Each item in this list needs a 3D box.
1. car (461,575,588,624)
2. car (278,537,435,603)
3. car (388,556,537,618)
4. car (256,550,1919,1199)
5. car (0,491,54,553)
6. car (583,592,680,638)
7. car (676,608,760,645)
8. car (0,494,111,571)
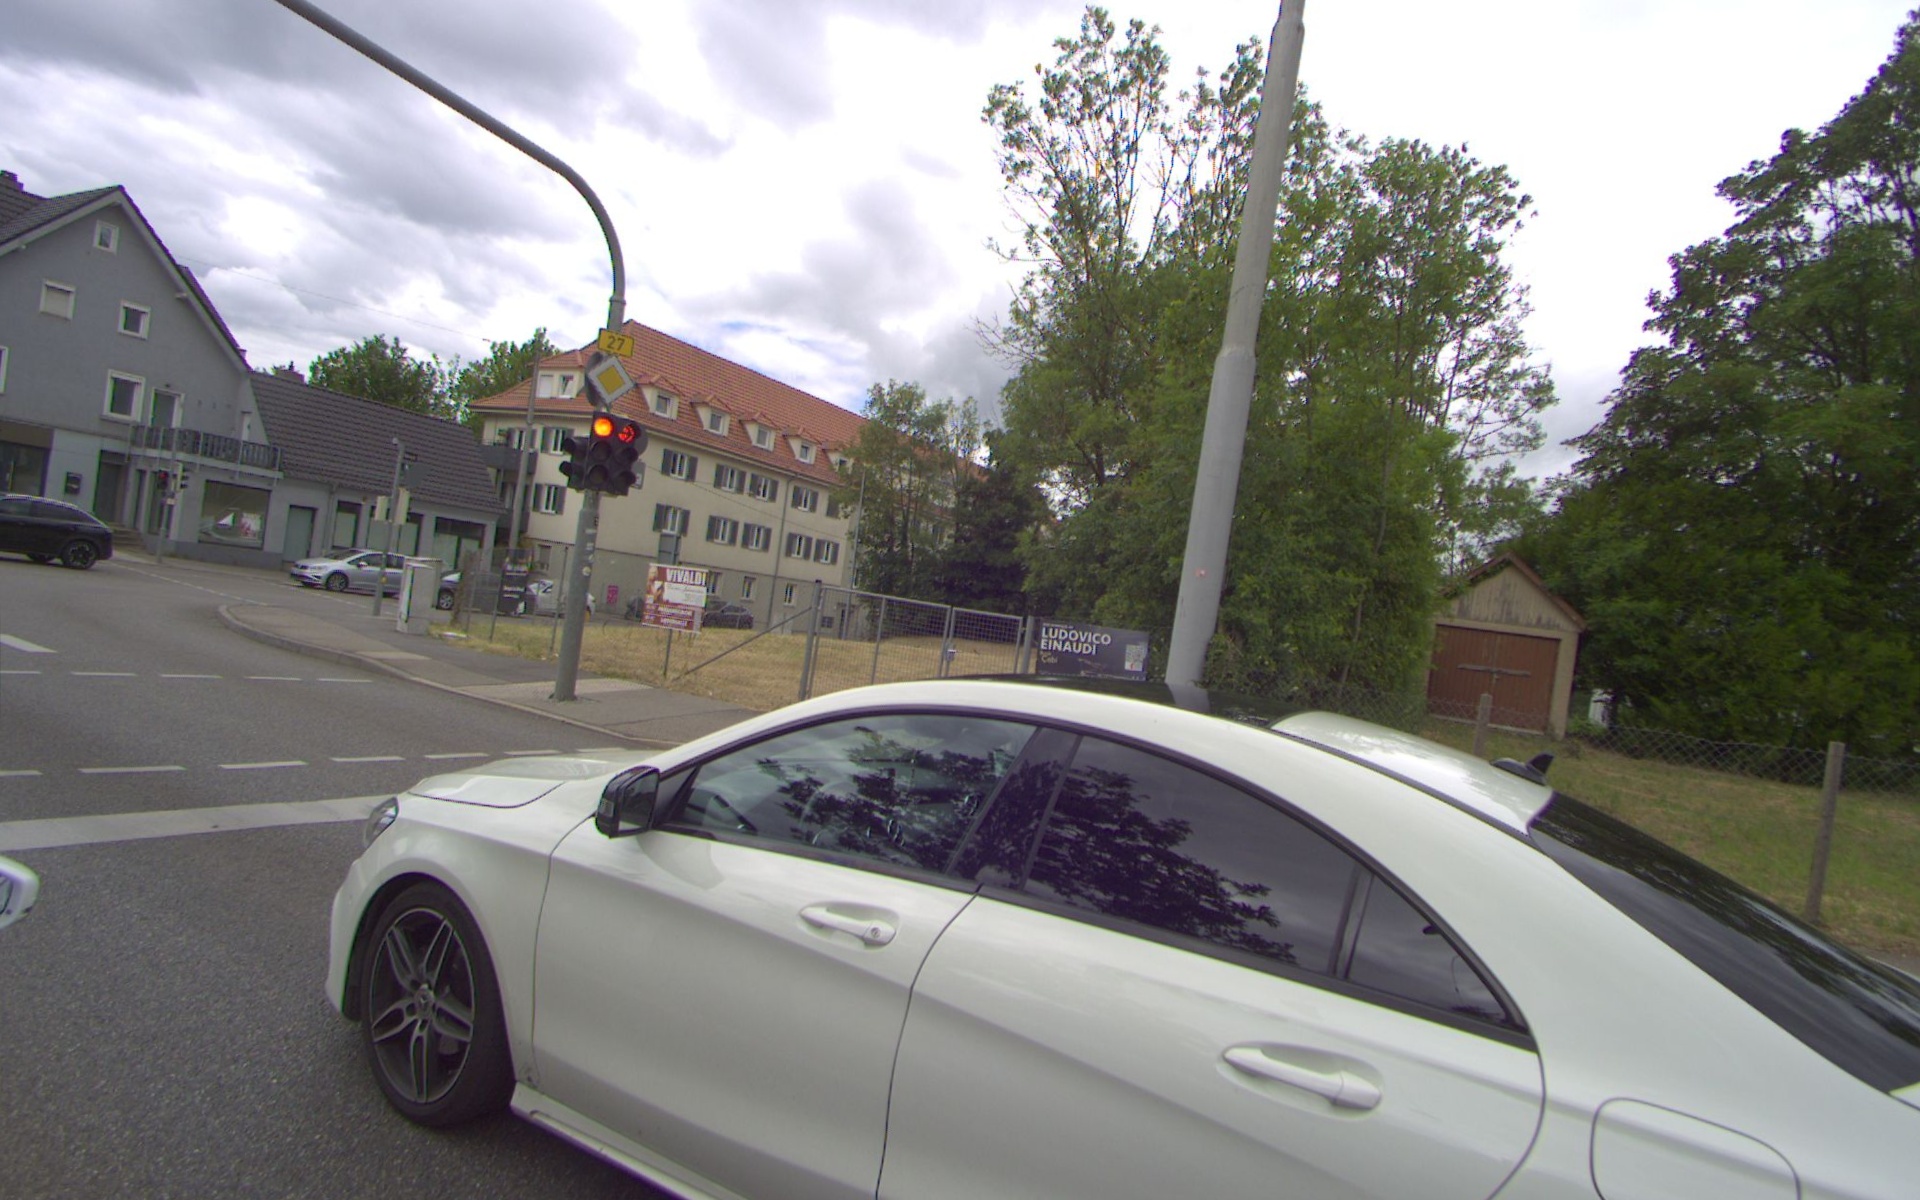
[{"bbox_3d":[-17.471,0.020,40.512,1.967,1.496,4.246,7,0,32],"label":"car"},{"bbox_3d":[-20.466,-0.978,34.291,1.798,1.557,4.111,7,-3,31],"label":"car"},{"bbox_3d":[-17.163,-0.415,34.914,1.686,1.498,4.283,8,-2,31],"label":"car"},{"bbox_3d":[0.162,0.843,2.645,4.305,1.451,1.651,7,0,32],"label":"car"},{"bbox_3d":[-26.161,-2.240,25.614,1.861,1.512,4.097,7,-1,24],"label":"car"},{"bbox_3d":[-15.518,0.739,47.664,1.839,1.554,3.996,7,-2,32],"label":"car"},{"bbox_3d":[-12.624,1.401,52.653,1.839,1.393,3.996,7,-2,32],"label":"car"},{"bbox_3d":[-22.515,-1.711,23.150,1.807,1.539,4.072,7,-1,23],"label":"car"}]
